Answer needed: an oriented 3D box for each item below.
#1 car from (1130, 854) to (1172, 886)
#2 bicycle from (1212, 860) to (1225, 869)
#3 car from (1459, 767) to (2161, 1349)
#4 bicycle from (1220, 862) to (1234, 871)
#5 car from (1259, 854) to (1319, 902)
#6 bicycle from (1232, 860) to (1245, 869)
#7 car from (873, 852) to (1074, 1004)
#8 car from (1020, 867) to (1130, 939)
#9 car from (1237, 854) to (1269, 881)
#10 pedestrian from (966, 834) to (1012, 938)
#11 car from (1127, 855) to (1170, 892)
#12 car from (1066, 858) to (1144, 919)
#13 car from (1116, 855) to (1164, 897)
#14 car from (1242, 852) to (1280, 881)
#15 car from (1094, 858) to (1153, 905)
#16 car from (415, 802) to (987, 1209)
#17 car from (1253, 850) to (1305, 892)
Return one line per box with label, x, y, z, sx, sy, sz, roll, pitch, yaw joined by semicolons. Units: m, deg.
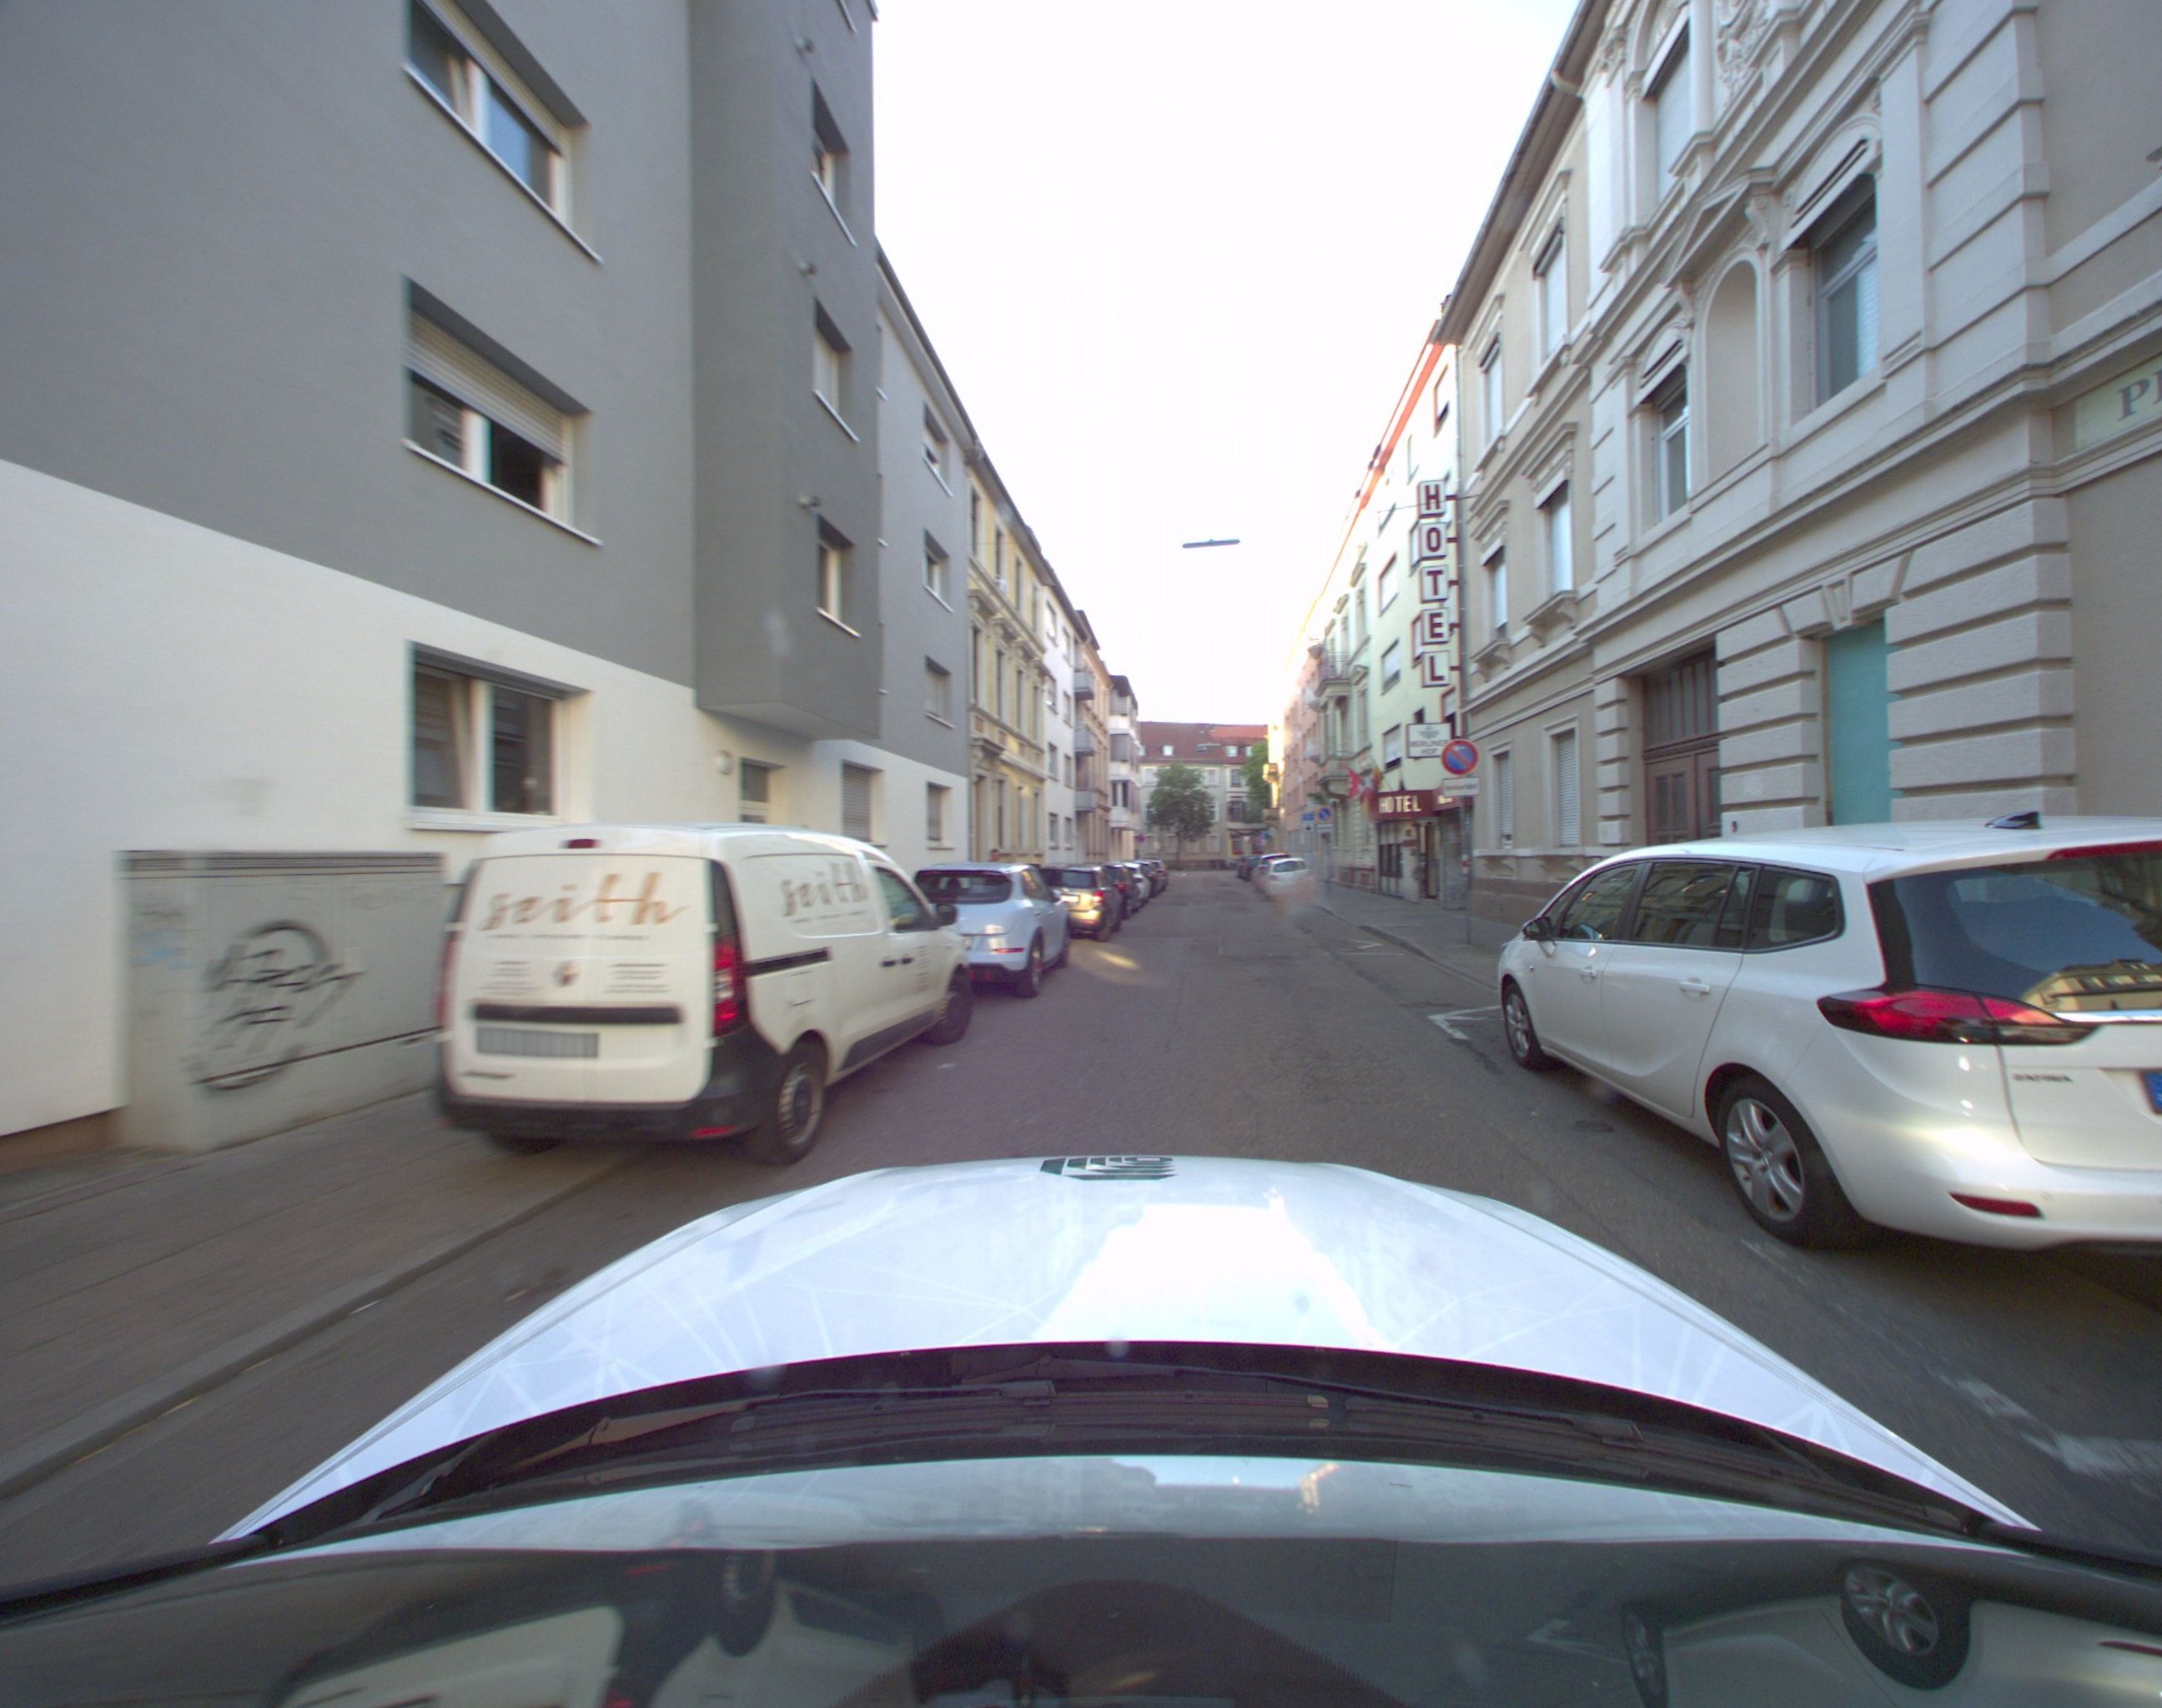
car;4.048;0.879;46.361;1.981;1.662;3.988;-2;0;10
bicycle;14.914;1.114;88.607;0.520;0.949;1.711;-1;-1;-24
car;3.769;0.585;4.589;1.806;1.723;4.473;-1;0;9
bicycle;15.609;1.311;87.027;0.520;0.894;1.711;-2;1;-24
car;7.550;0.823;29.835;1.652;1.458;3.769;-7;-1;9
bicycle;16.936;1.083;87.465;0.520;0.949;1.711;-1;0;-24
car;-1.193;0.798;11.001;1.755;1.563;4.372;-1;1;5
car;0.003;0.955;17.345;1.674;1.332;4.141;-1;-1;9
car;11.940;0.885;56.784;1.981;1.761;4.011;-2;0;10
pedestrian;-1.821;0.619;16.206;0.795;2.014;0.775;-1;-1;-1
car;3.357;0.909;40.152;1.983;1.666;4.416;-1;0;6
car;0.765;0.915;23.147;1.718;1.509;3.840;-1;0;9
car;2.539;0.876;34.108;1.605;1.570;4.314;-1;0;9
car;11.377;0.792;51.608;1.982;1.708;4.009;-2;0;8
car;1.522;0.901;28.129;1.620;1.472;3.764;-1;0;9
car;-2.018;0.677;5.807;1.622;1.813;4.195;-1;0;8
car;8.733;0.714;36.214;1.981;1.732;4.070;-1;0;10
